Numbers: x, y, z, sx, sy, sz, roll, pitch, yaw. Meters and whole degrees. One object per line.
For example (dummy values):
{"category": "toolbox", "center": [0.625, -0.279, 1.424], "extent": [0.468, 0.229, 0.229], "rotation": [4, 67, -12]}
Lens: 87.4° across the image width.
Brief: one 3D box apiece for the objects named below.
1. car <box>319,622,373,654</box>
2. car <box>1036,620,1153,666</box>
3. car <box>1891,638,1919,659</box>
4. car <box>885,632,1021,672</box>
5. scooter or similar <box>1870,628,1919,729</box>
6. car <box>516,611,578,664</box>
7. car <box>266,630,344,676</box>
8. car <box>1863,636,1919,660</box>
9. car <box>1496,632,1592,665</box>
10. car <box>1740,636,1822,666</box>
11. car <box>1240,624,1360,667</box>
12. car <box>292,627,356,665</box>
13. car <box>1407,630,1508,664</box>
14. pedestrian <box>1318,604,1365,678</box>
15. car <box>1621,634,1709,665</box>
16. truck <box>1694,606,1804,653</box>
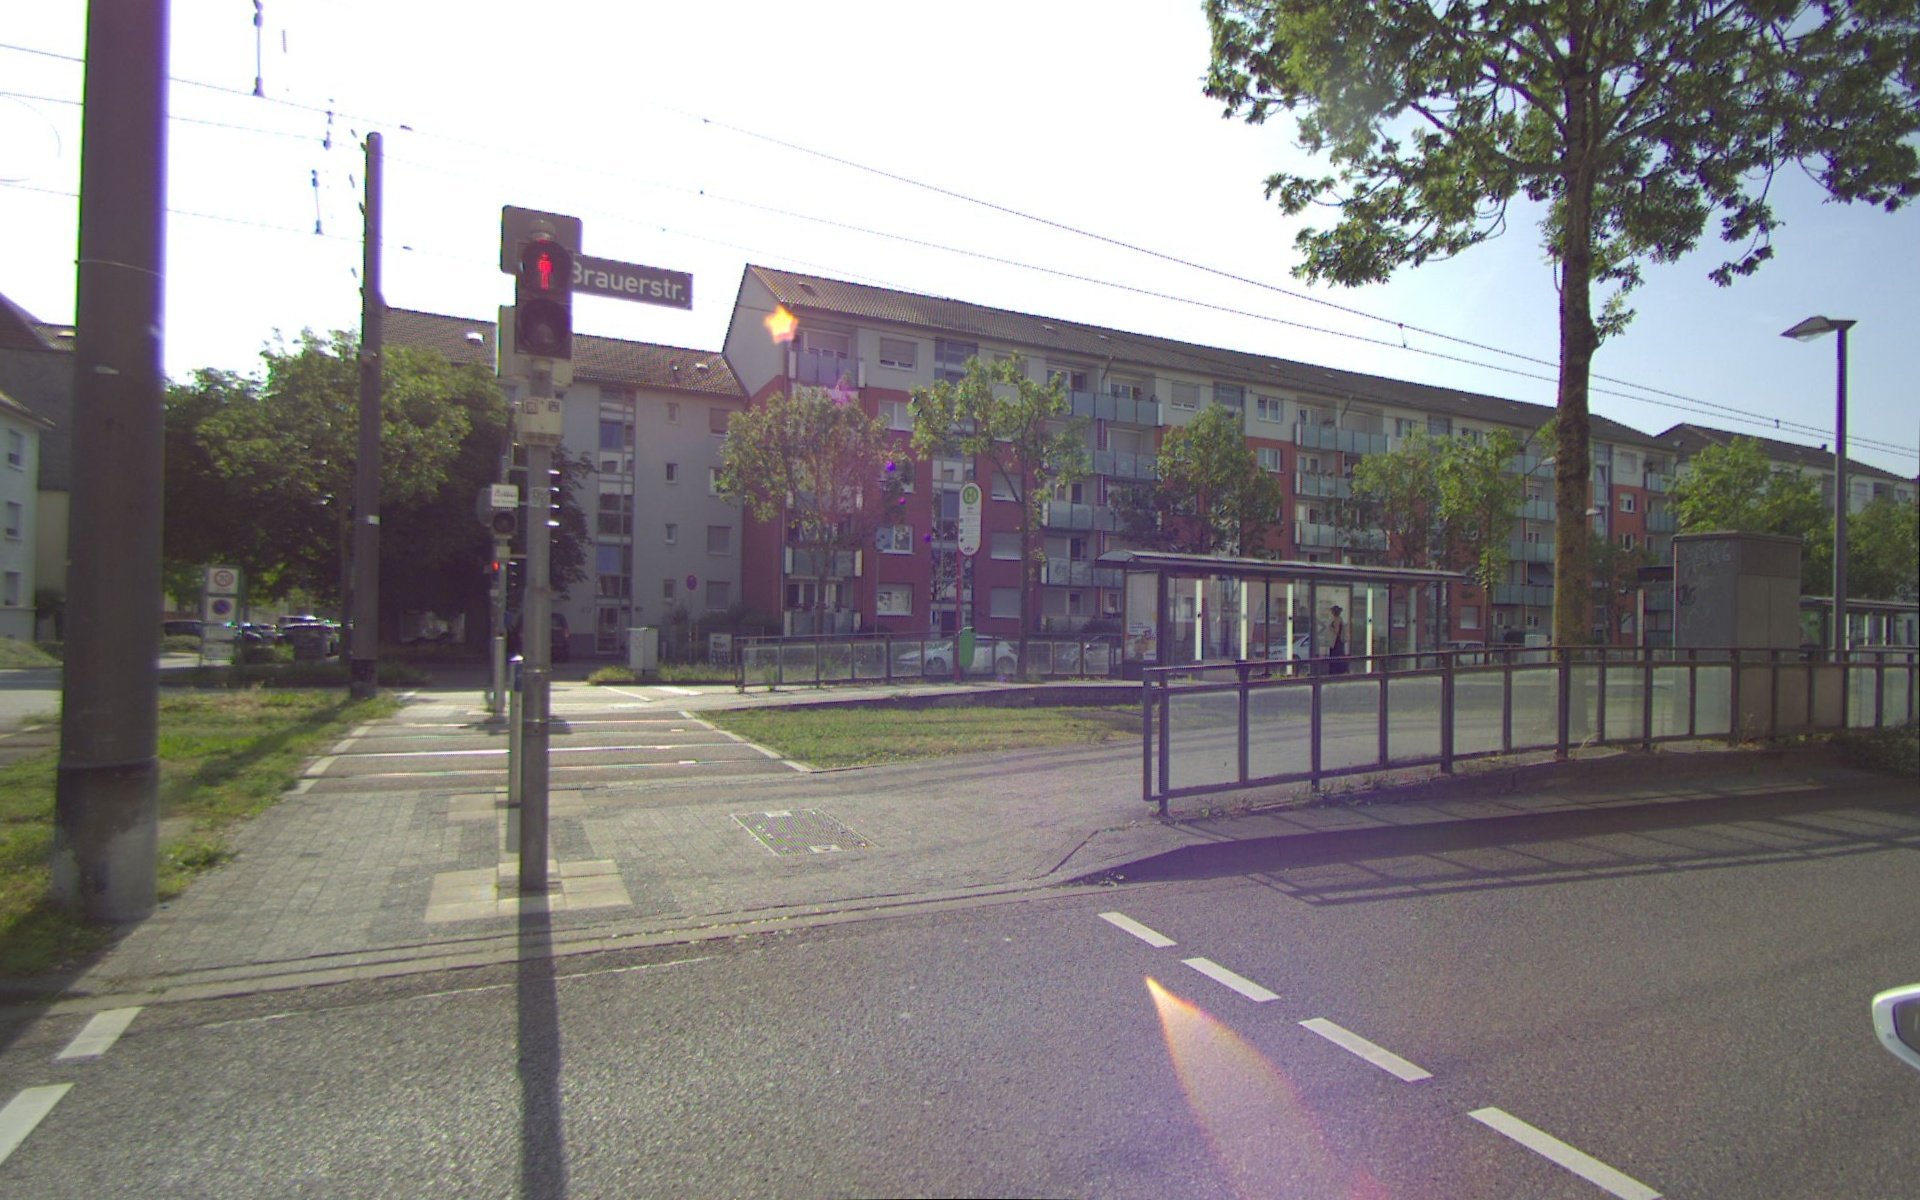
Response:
{"category": "car", "center": [-32.288, 1.970, 52.931], "extent": [1.795, 1.495, 3.978], "rotation": [2, 0, -23]}
{"category": "car", "center": [4.827, 1.530, 35.961], "extent": [3.777, 1.490, 1.827], "rotation": [2, 0, -27]}
{"category": "car", "center": [58.797, 2.943, 60.229], "extent": [1.905, 1.260, 3.993], "rotation": [1, -1, -10]}
{"category": "car", "center": [-0.230, 1.715, 33.130], "extent": [4.111, 1.163, 1.827], "rotation": [2, 0, -27]}
{"category": "scooter or similar", "center": [12.364, 0.987, 12.735], "extent": [1.237, 1.255, 0.428], "rotation": [1, -2, 2]}
{"category": "car", "center": [-15.303, 1.357, 37.104], "extent": [1.973, 1.717, 3.975], "rotation": [2, 0, -24]}
{"category": "car", "center": [-27.181, 2.165, 41.819], "extent": [1.971, 1.627, 3.978], "rotation": [2, 0, -23]}
{"category": "car", "center": [55.508, 2.799, 58.865], "extent": [1.795, 1.260, 4.002], "rotation": [1, -1, 5]}
{"category": "car", "center": [27.085, 2.234, 46.608], "extent": [4.016, 1.378, 1.974], "rotation": [2, 0, -27]}
{"category": "car", "center": [45.395, 2.813, 55.538], "extent": [4.225, 1.533, 1.974], "rotation": [2, 0, -27]}
{"category": "car", "center": [13.631, 1.808, 40.281], "extent": [4.478, 1.577, 1.974], "rotation": [2, 0, -27]}
{"category": "car", "center": [-29.212, 2.087, 46.258], "extent": [1.795, 1.495, 3.978], "rotation": [2, 0, -23]}
{"category": "car", "center": [22.020, 2.073, 44.416], "extent": [4.016, 1.378, 1.974], "rotation": [2, 0, -27]}
{"category": "pedestrian", "center": [8.869, 0.952, 23.375], "extent": [0.785, 1.675, 0.668], "rotation": [2, -1, -30]}
{"category": "car", "center": [35.736, 2.508, 50.888], "extent": [4.016, 1.378, 1.974], "rotation": [2, 0, -27]}
{"category": "truck", "center": [47.327, 1.776, 60.218], "extent": [7.147, 2.597, 2.357], "rotation": [2, 0, -27]}
